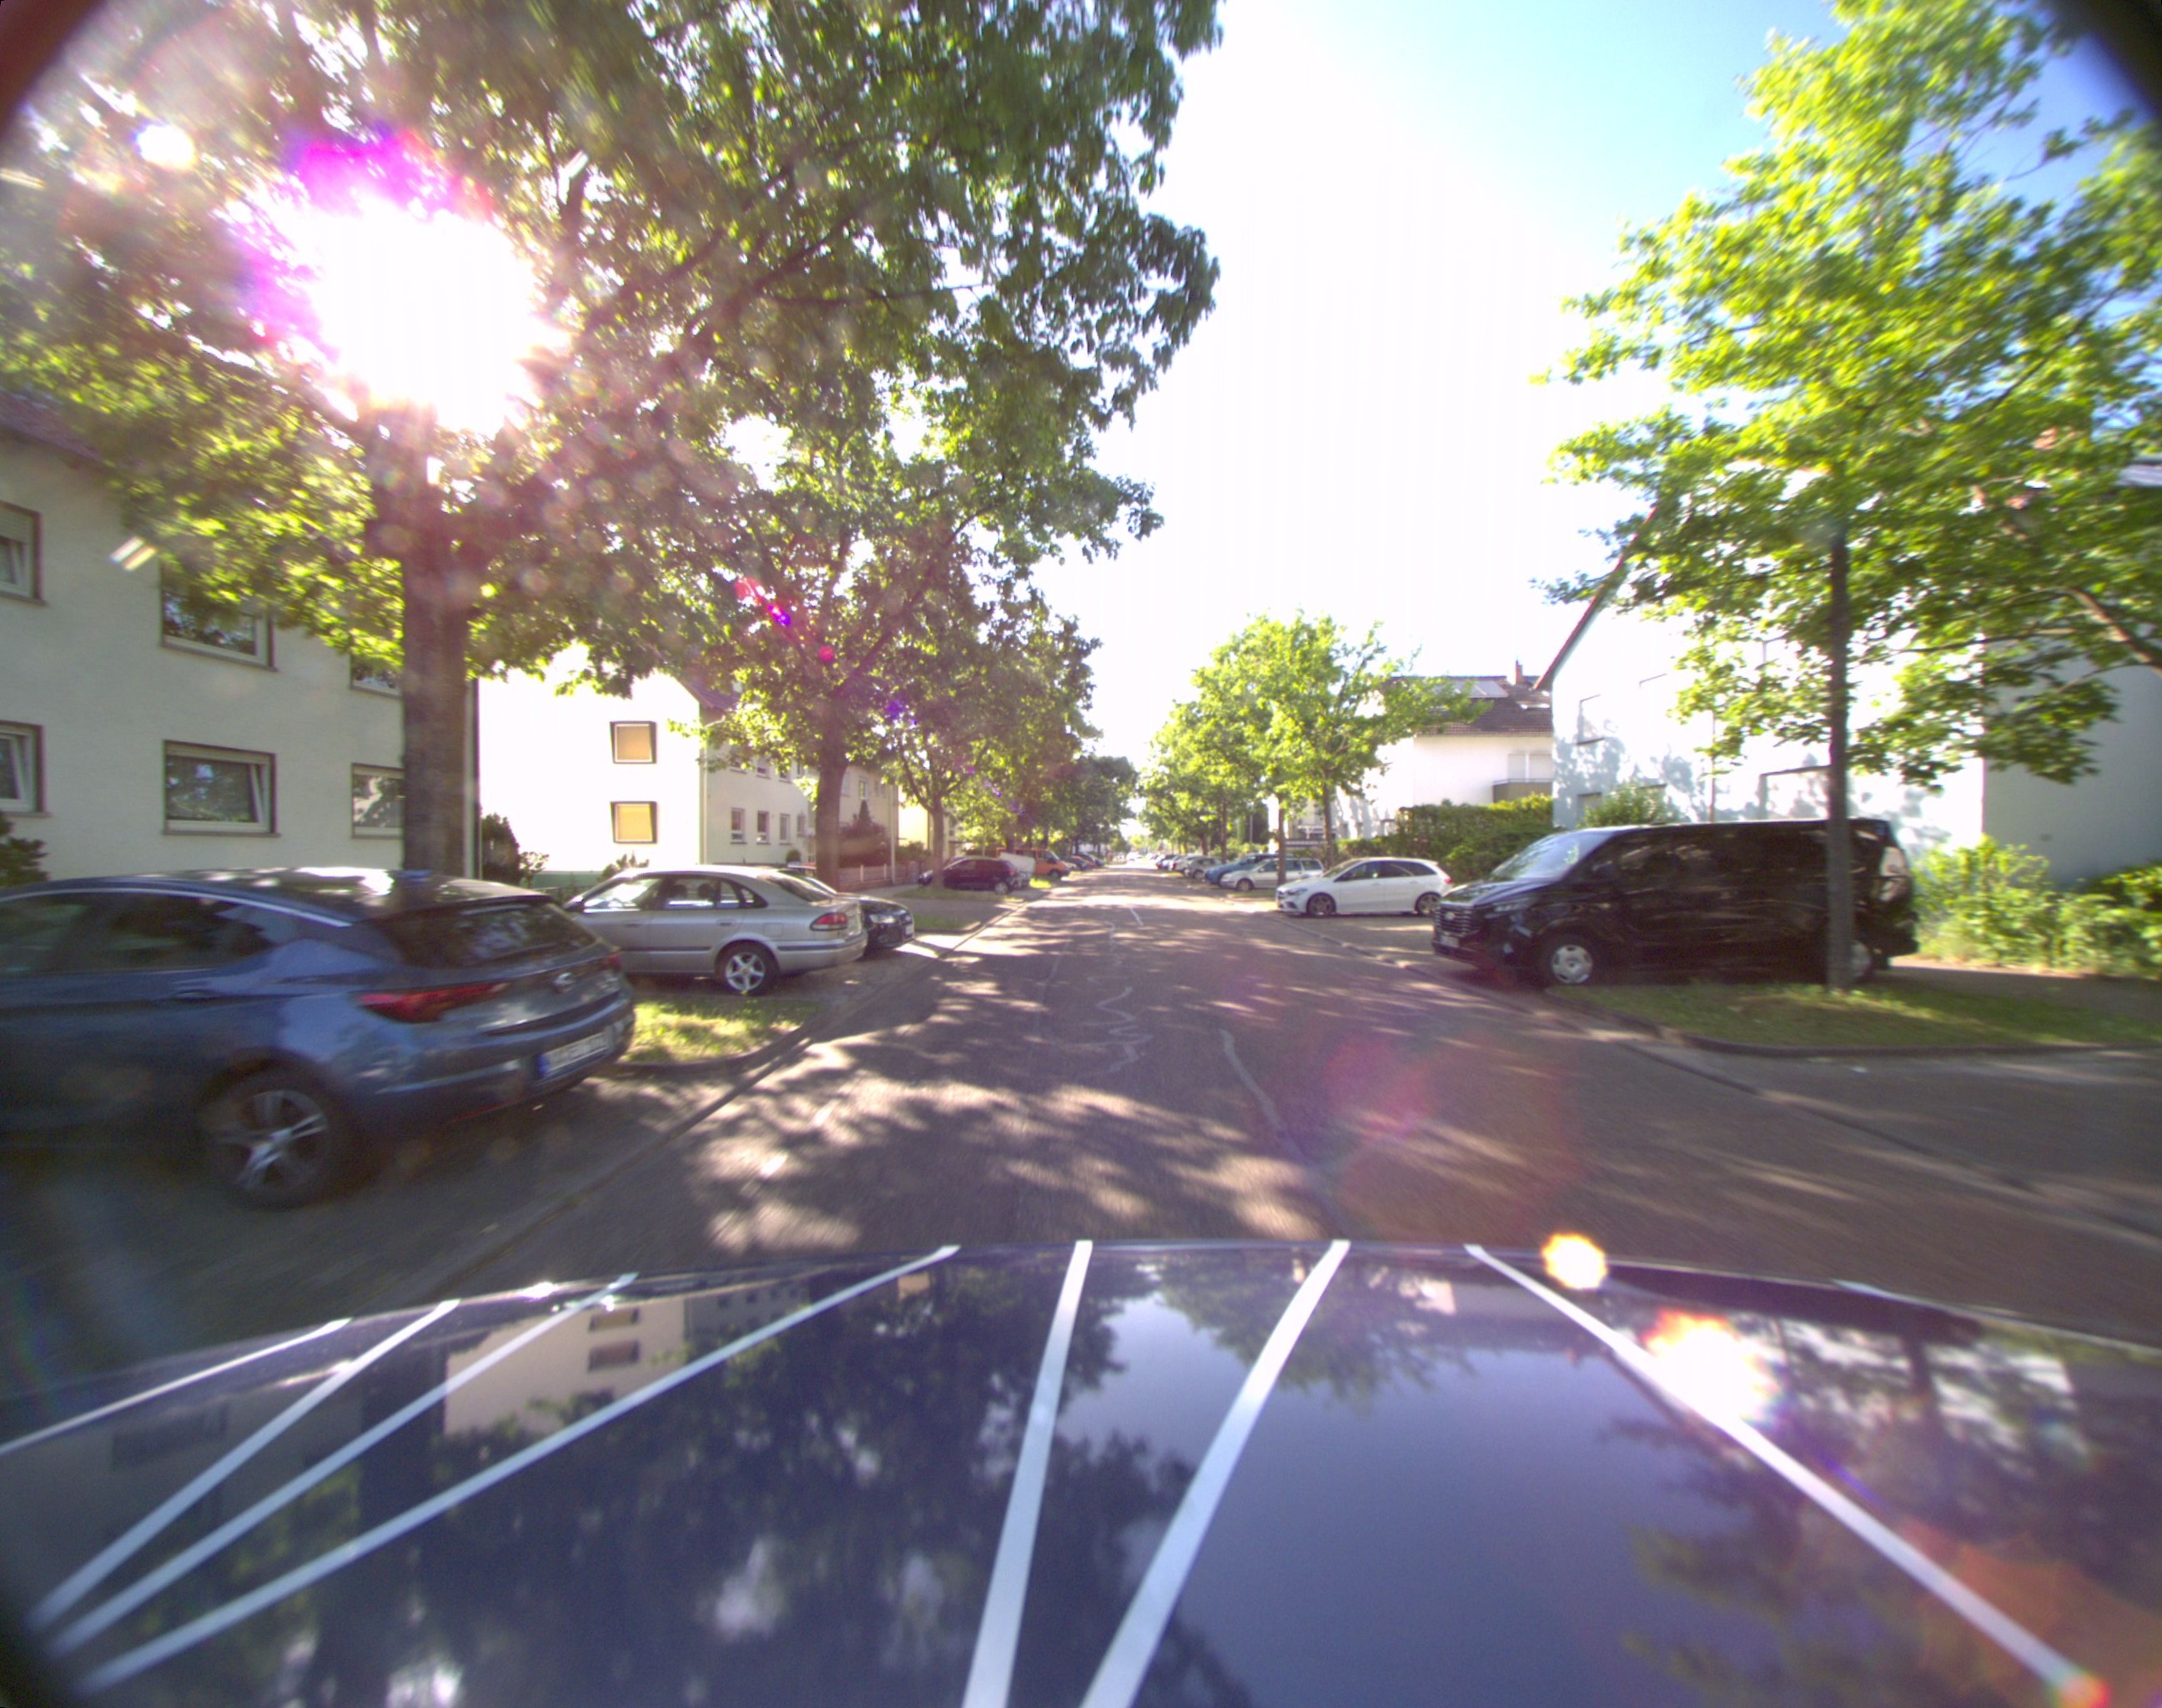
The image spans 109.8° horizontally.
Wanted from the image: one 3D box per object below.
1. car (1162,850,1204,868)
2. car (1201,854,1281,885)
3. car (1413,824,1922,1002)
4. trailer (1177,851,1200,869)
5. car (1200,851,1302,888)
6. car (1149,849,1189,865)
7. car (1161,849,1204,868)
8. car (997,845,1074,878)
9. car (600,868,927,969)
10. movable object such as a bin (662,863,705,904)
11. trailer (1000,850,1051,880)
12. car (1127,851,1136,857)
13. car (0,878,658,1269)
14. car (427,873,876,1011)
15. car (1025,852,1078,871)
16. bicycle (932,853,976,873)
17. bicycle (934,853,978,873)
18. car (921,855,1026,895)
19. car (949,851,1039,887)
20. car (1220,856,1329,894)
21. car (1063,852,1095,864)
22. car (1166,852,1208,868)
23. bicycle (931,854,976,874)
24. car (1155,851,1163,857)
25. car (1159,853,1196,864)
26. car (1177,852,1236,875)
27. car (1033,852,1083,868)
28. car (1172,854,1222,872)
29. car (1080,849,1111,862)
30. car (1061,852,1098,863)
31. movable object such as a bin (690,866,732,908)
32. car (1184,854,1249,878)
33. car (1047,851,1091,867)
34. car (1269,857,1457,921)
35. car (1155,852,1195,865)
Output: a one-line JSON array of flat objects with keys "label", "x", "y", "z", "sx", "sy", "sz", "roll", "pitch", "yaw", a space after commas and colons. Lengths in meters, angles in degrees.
[{"label": "car", "x": 10.947, "y": 0.504, "z": 81.709, "sx": 4.249, "sy": 1.760, "sz": 1.967, "roll": -1, "pitch": 1, "yaw": 1}, {"label": "car", "x": 8.666, "y": 0.816, "z": 41.372, "sx": 3.996, "sy": 1.586, "sz": 1.858, "roll": 0, "pitch": 1, "yaw": 3}, {"label": "car", "x": 7.011, "y": 0.667, "z": 9.520, "sx": 4.790, "sy": 1.905, "sz": 2.018, "roll": -1, "pitch": 0, "yaw": 0}, {"label": "trailer", "x": 10.543, "y": 0.582, "z": 74.338, "sx": 2.240, "sy": 1.664, "sz": 1.475, "roll": 0, "pitch": 0, "yaw": 8}, {"label": "car", "x": 8.131, "y": 0.729, "z": 36.640, "sx": 4.534, "sy": 1.622, "sz": 1.938, "roll": -1, "pitch": 1, "yaw": 4}, {"label": "car", "x": 10.582, "y": 0.321, "z": 91.544, "sx": 4.684, "sy": 1.758, "sz": 1.795, "roll": -2, "pitch": 0, "yaw": 4}, {"label": "car", "x": 10.579, "y": 0.432, "z": 79.272, "sx": 4.246, "sy": 1.933, "sz": 2.000, "roll": 0, "pitch": 1, "yaw": 1}, {"label": "car", "x": -2.934, "y": 0.461, "z": 49.735, "sx": 4.829, "sy": 2.071, "sz": 2.086, "roll": 0, "pitch": 1, "yaw": 3}, {"label": "car", "x": -4.826, "y": 0.950, "z": 11.995, "sx": 4.356, "sy": 1.355, "sz": 1.873, "roll": 1, "pitch": 1, "yaw": 2}, {"label": "movable object such as a bin", "x": -11.147, "y": 0.814, "z": 21.329, "sx": 0.704, "sy": 1.092, "sz": 0.906, "roll": 0, "pitch": 2, "yaw": 1}, {"label": "trailer", "x": -3.288, "y": 0.659, "z": 45.174, "sx": 2.954, "sy": 1.655, "sz": 1.614, "roll": 2, "pitch": 2, "yaw": -3}, {"label": "car", "x": 12.500, "y": 0.033, "z": 189.216, "sx": 1.943, "sy": 1.412, "sz": 4.002, "roll": 0, "pitch": 0, "yaw": 7}, {"label": "car", "x": -4.900, "y": 0.923, "z": 4.060, "sx": 4.286, "sy": 1.494, "sz": 1.797, "roll": 0, "pitch": 1, "yaw": 2}, {"label": "car", "x": -4.811, "y": 0.973, "z": 9.038, "sx": 4.288, "sy": 1.406, "sz": 1.796, "roll": 1, "pitch": 1, "yaw": -3}, {"label": "car", "x": -2.502, "y": 0.620, "z": 65.627, "sx": 4.348, "sy": 1.551, "sz": 1.868, "roll": 1, "pitch": 1, "yaw": 3}, {"label": "bicycle", "x": -8.478, "y": 0.617, "z": 50.853, "sx": 2.865, "sy": 1.230, "sz": 0.468, "roll": 2, "pitch": 2, "yaw": 4}, {"label": "bicycle", "x": -8.441, "y": 0.604, "z": 51.339, "sx": 2.865, "sy": 1.230, "sz": 0.468, "roll": 1, "pitch": 2, "yaw": 4}, {"label": "car", "x": -4.232, "y": 0.800, "z": 30.319, "sx": 3.891, "sy": 1.507, "sz": 1.661, "roll": 0, "pitch": 1, "yaw": 3}, {"label": "car", "x": -4.026, "y": 0.677, "z": 35.555, "sx": 3.997, "sy": 1.614, "sz": 1.757, "roll": 0, "pitch": 1, "yaw": -1}, {"label": "car", "x": 8.076, "y": 0.868, "z": 31.922, "sx": 4.192, "sy": 1.483, "sz": 1.647, "roll": -1, "pitch": 1, "yaw": 2}, {"label": "car", "x": -0.207, "y": 0.461, "z": 93.105, "sx": 3.785, "sy": 1.475, "sz": 1.756, "roll": 0, "pitch": 1, "yaw": 5}, {"label": "car", "x": 10.686, "y": 0.593, "z": 76.695, "sx": 3.997, "sy": 1.507, "sz": 1.690, "roll": 0, "pitch": 1, "yaw": 1}, {"label": "bicycle", "x": -8.464, "y": 0.639, "z": 50.355, "sx": 2.865, "sy": 1.230, "sz": 0.468, "roll": 1, "pitch": 1, "yaw": 4}, {"label": "car", "x": 19.830, "y": -0.017, "z": 193.762, "sx": 1.740, "sy": 1.532, "sz": 3.949, "roll": 0, "pitch": 0, "yaw": 10}, {"label": "car", "x": 11.974, "y": 0.548, "z": 94.268, "sx": 4.284, "sy": 1.416, "sz": 1.723, "roll": 0, "pitch": 1, "yaw": -4}, {"label": "car", "x": 9.265, "y": 0.674, "z": 56.369, "sx": 4.196, "sy": 1.558, "sz": 1.792, "roll": -2, "pitch": 0, "yaw": 5}, {"label": "car", "x": -2.133, "y": 0.582, "z": 71.075, "sx": 4.436, "sy": 1.324, "sz": 1.691, "roll": 2, "pitch": 1, "yaw": 6}, {"label": "car", "x": 10.103, "y": 0.768, "z": 66.309, "sx": 4.219, "sy": 1.463, "sz": 1.691, "roll": 0, "pitch": 1, "yaw": 6}, {"label": "car", "x": 2.085, "y": 0.173, "z": 106.860, "sx": 4.220, "sy": 1.771, "sz": 1.790, "roll": 0, "pitch": 1, "yaw": 5}, {"label": "car", "x": -0.132, "y": 0.447, "z": 96.985, "sx": 4.512, "sy": 1.437, "sz": 1.839, "roll": 0, "pitch": 1, "yaw": 5}, {"label": "movable object such as a bin", "x": -10.377, "y": 0.912, "z": 21.341, "sx": 0.704, "sy": 1.105, "sz": 0.906, "roll": 0, "pitch": 2, "yaw": 1}, {"label": "car", "x": 9.030, "y": 0.777, "z": 51.019, "sx": 4.043, "sy": 1.415, "sz": 1.810, "roll": -2, "pitch": 1, "yaw": 2}, {"label": "car", "x": -1.208, "y": 0.518, "z": 78.287, "sx": 4.329, "sy": 1.521, "sz": 1.841, "roll": 0, "pitch": 1, "yaw": 3}, {"label": "car", "x": 7.292, "y": 0.886, "z": 19.980, "sx": 4.286, "sy": 1.469, "sz": 1.769, "roll": -1, "pitch": 1, "yaw": 3}, {"label": "car", "x": 10.940, "y": 0.534, "z": 88.857, "sx": 4.487, "sy": 1.491, "sz": 1.837, "roll": 0, "pitch": 1, "yaw": 2}]
